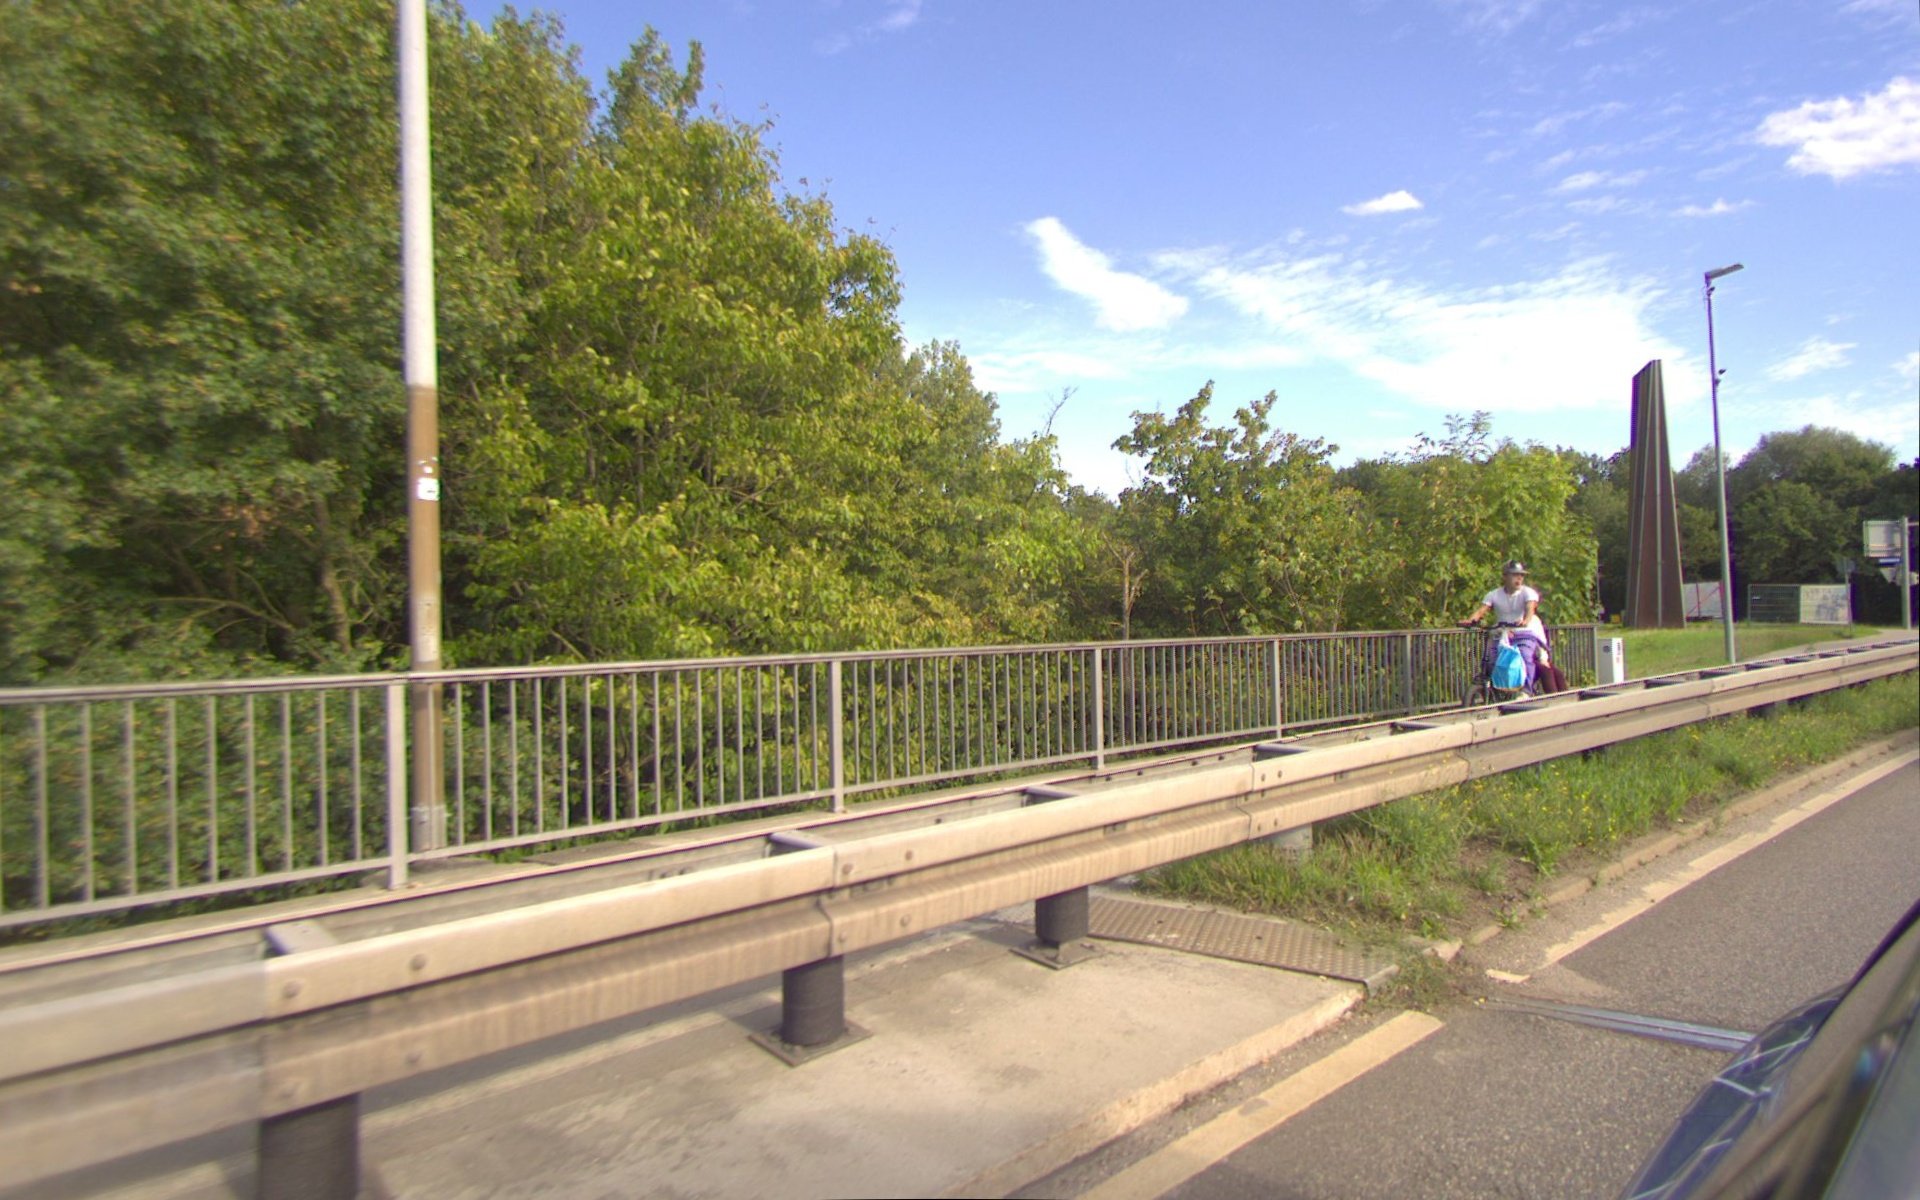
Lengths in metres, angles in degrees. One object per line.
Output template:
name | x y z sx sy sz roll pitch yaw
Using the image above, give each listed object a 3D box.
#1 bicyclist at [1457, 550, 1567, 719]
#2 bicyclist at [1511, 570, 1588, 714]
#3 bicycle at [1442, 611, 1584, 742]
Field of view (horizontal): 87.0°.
bicyclist | 5.438 0.311 9.972 0.740 1.576 0.709 -1 1 -37
bicyclist | 5.907 0.397 10.141 0.528 1.389 0.501 -1 1 -37
bicycle | 5.417 0.698 9.881 1.665 1.134 0.597 -1 1 -37
